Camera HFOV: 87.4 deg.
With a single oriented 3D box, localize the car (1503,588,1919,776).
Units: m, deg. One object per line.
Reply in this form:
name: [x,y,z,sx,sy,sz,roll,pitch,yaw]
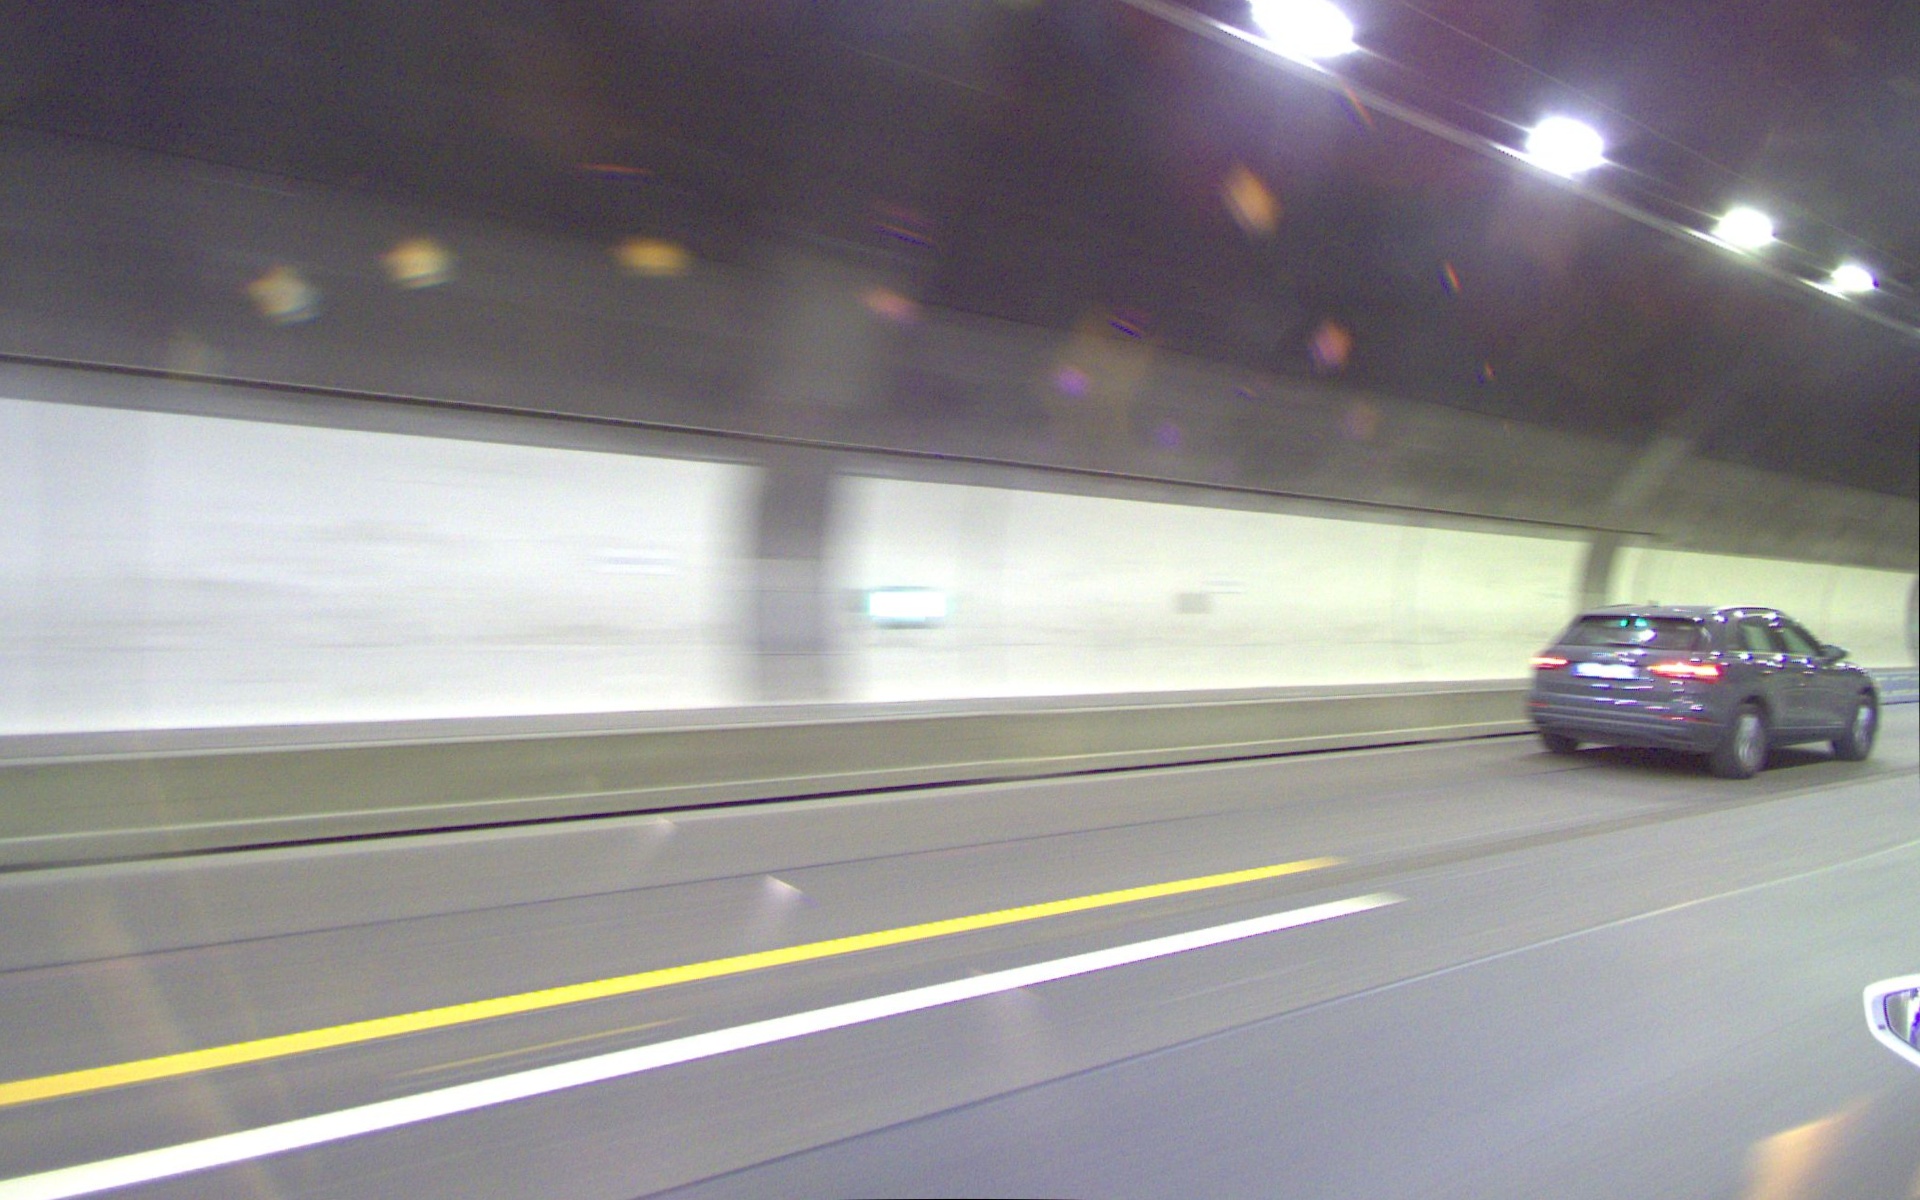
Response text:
car: [8.034,0.749,10.509,4.687,1.561,1.984,2,0,-30]
